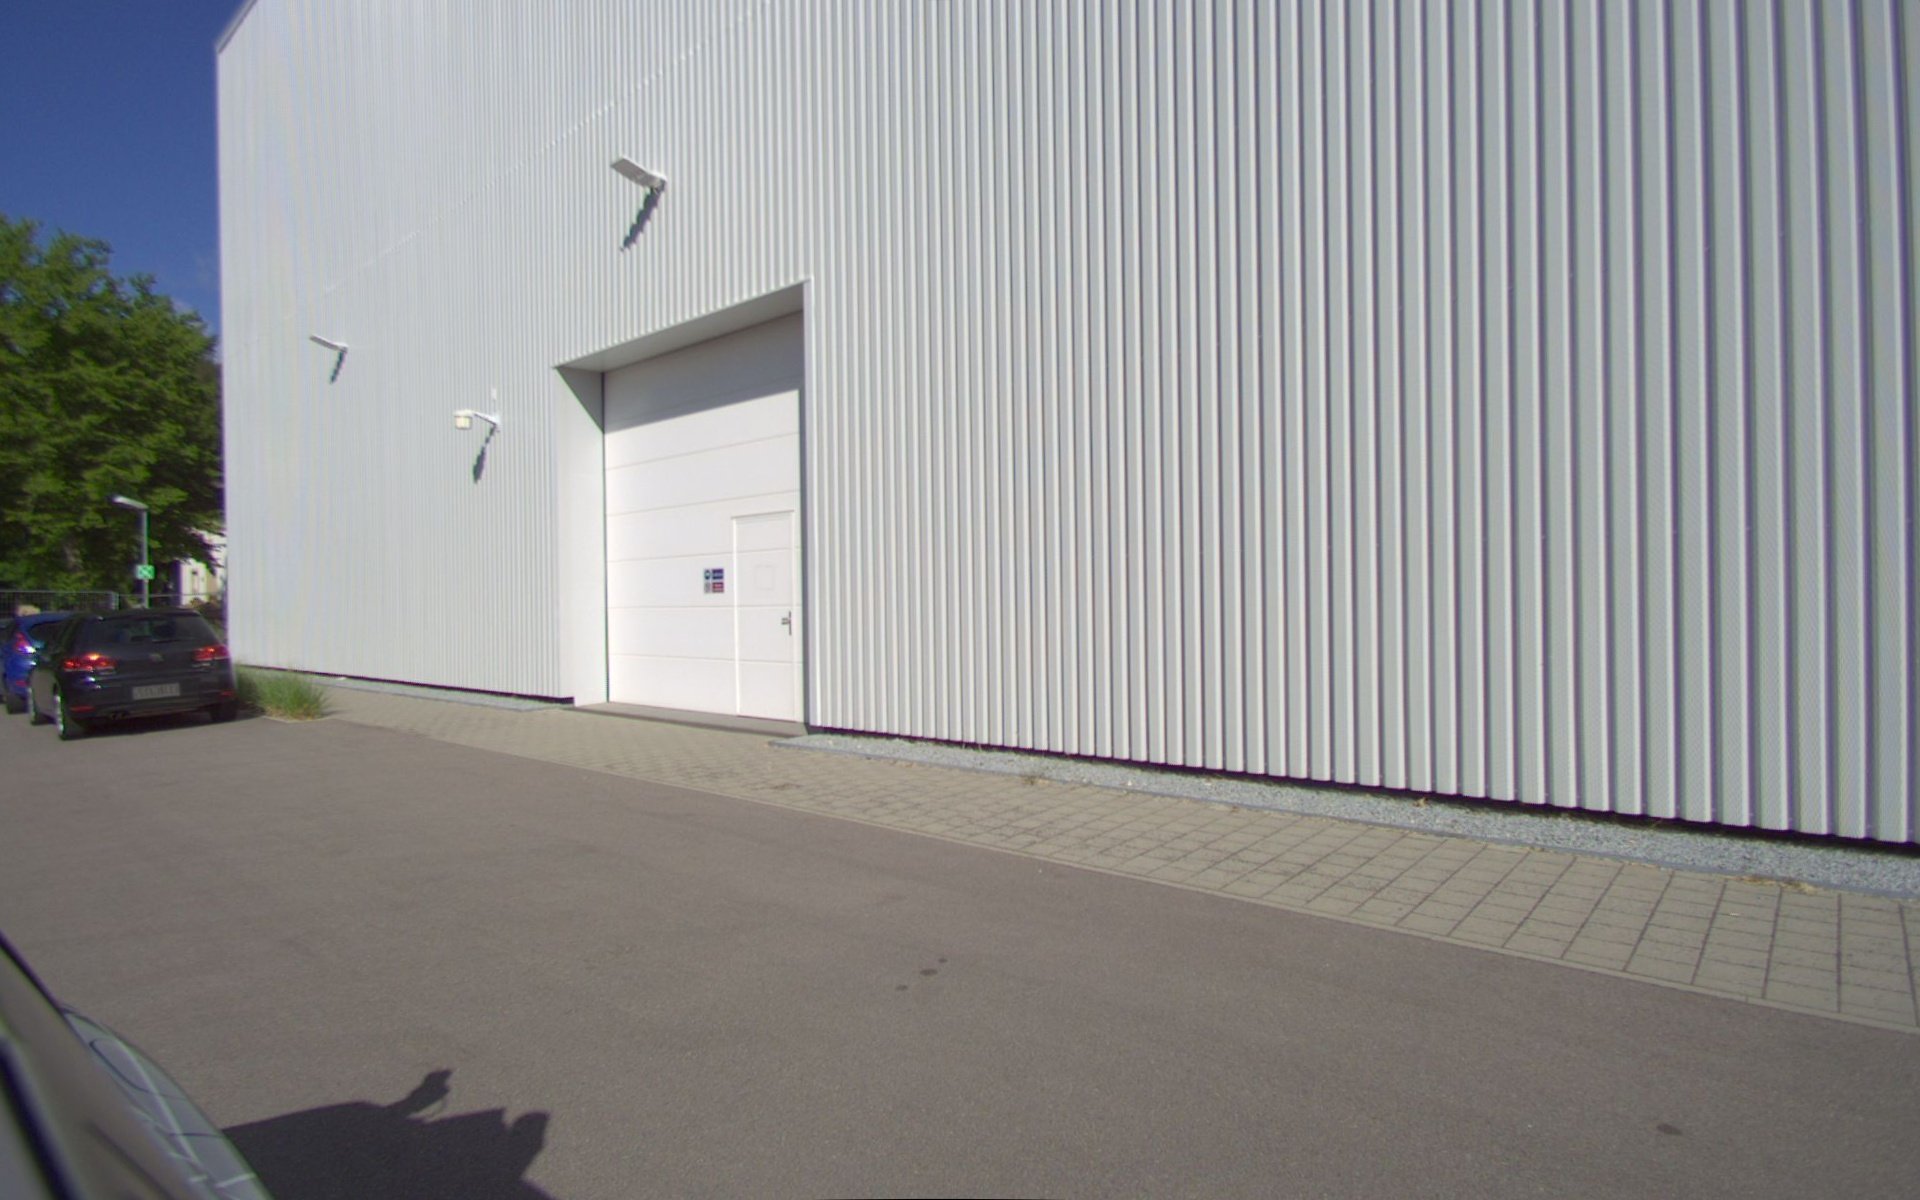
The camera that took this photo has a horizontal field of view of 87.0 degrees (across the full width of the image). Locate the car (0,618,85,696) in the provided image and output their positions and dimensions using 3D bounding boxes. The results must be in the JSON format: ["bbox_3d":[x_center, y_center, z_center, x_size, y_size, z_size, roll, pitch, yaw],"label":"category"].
[{"bbox_3d":[-18.730,1.081,19.866,4.051,1.371,1.756,-1,0,41],"label":"car"}]

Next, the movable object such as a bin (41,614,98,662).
[{"bbox_3d":[-28.435,1.196,32.325,1.228,1.443,1.080,0,2,36],"label":"movable object such as a bin"}]

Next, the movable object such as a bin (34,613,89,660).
[{"bbox_3d":[-29.461,1.180,33.176,1.228,1.450,1.080,0,2,36],"label":"movable object such as a bin"}]

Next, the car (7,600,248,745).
[{"bbox_3d":[-10.892,0.823,13.130,4.292,1.511,1.736,-1,1,42],"label":"car"}]

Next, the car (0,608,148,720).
[{"bbox_3d":[-14.622,0.943,16.295,4.092,1.511,1.614,-1,2,40],"label":"car"}]

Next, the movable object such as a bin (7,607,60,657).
[{"bbox_3d":[-31.191,1.065,34.074,1.228,1.609,1.080,1,1,36],"label":"movable object such as a bin"}]
